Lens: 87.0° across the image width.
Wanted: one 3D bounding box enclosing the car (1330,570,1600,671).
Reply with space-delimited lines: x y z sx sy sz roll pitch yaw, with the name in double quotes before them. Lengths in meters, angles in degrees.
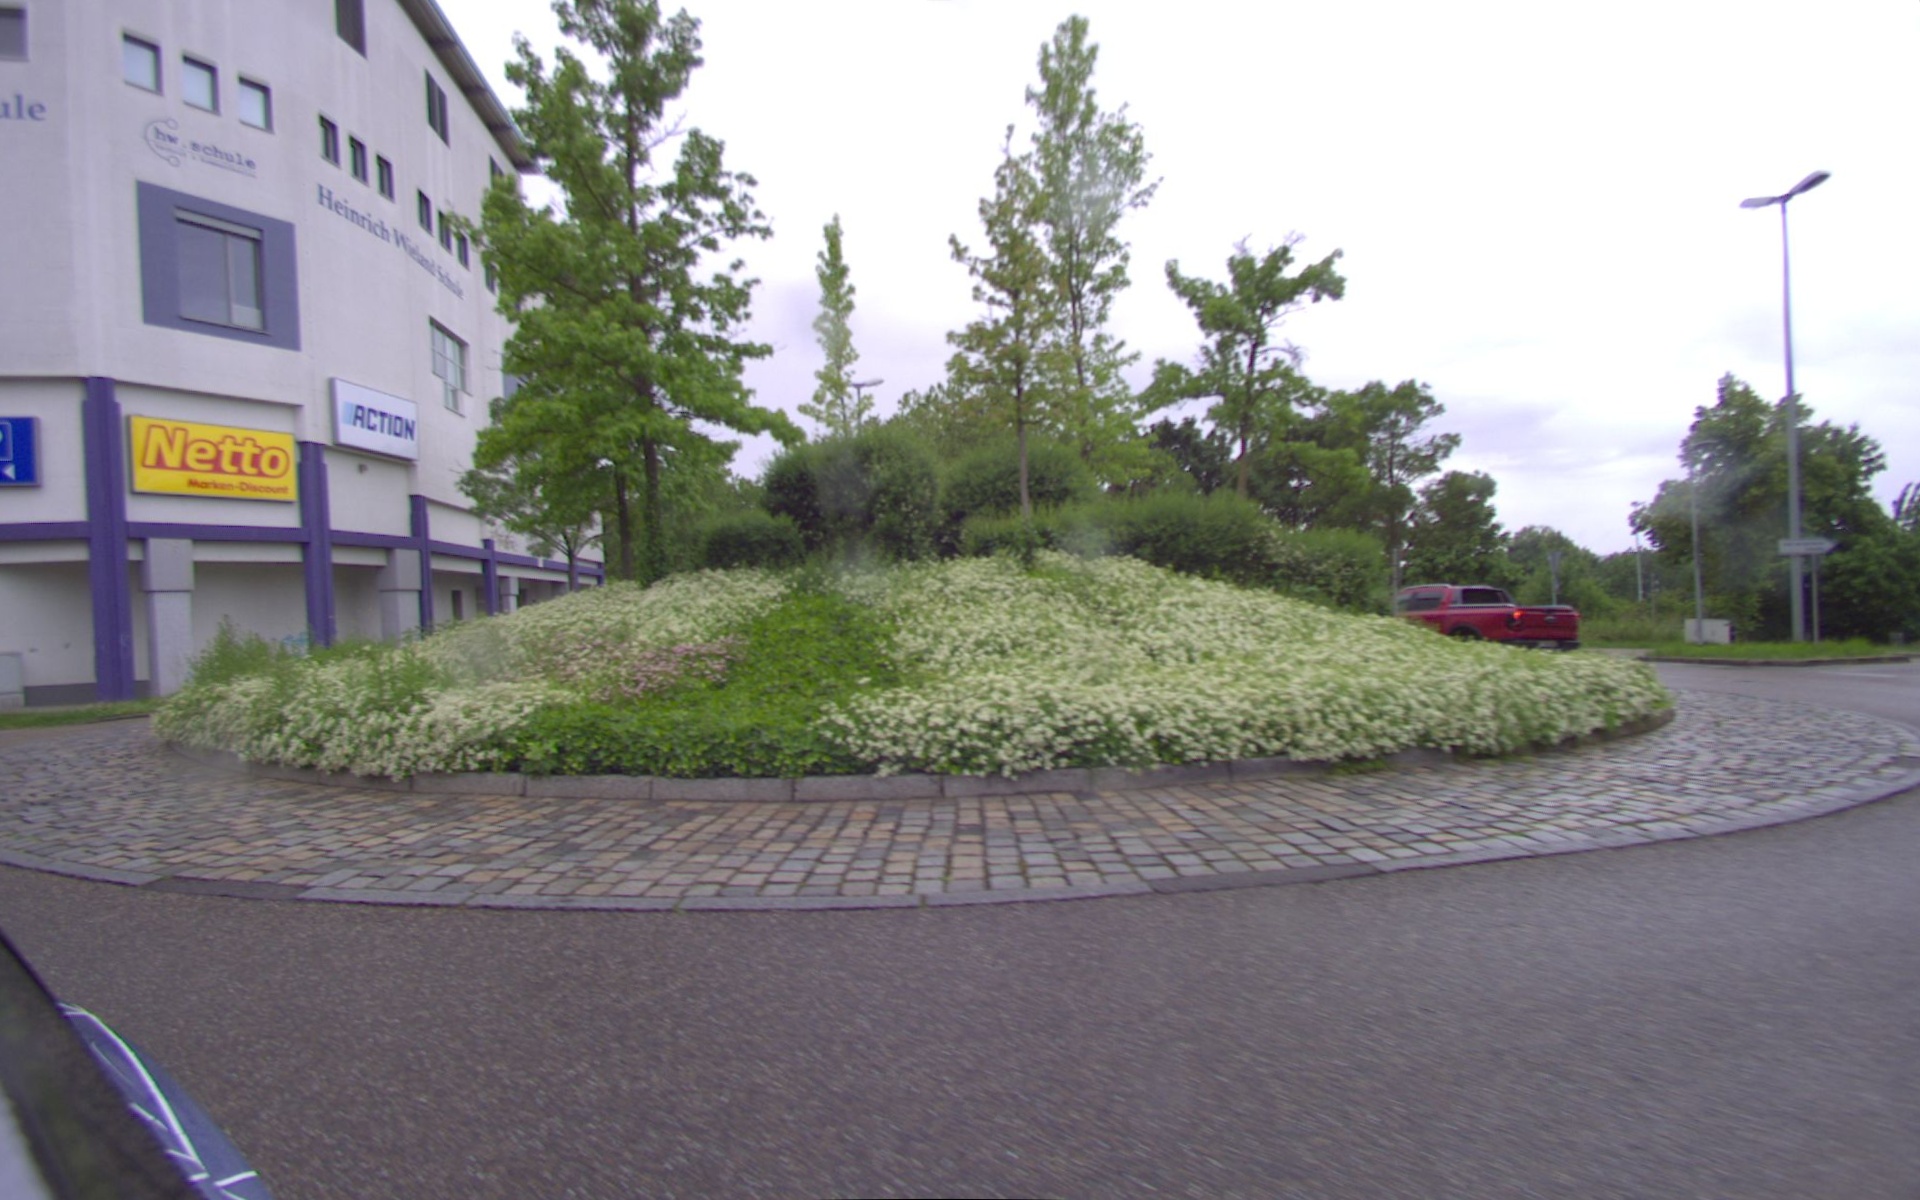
"car" 10.371 0.448 21.365 1.966 1.809 5.126 -2 -1 -18
